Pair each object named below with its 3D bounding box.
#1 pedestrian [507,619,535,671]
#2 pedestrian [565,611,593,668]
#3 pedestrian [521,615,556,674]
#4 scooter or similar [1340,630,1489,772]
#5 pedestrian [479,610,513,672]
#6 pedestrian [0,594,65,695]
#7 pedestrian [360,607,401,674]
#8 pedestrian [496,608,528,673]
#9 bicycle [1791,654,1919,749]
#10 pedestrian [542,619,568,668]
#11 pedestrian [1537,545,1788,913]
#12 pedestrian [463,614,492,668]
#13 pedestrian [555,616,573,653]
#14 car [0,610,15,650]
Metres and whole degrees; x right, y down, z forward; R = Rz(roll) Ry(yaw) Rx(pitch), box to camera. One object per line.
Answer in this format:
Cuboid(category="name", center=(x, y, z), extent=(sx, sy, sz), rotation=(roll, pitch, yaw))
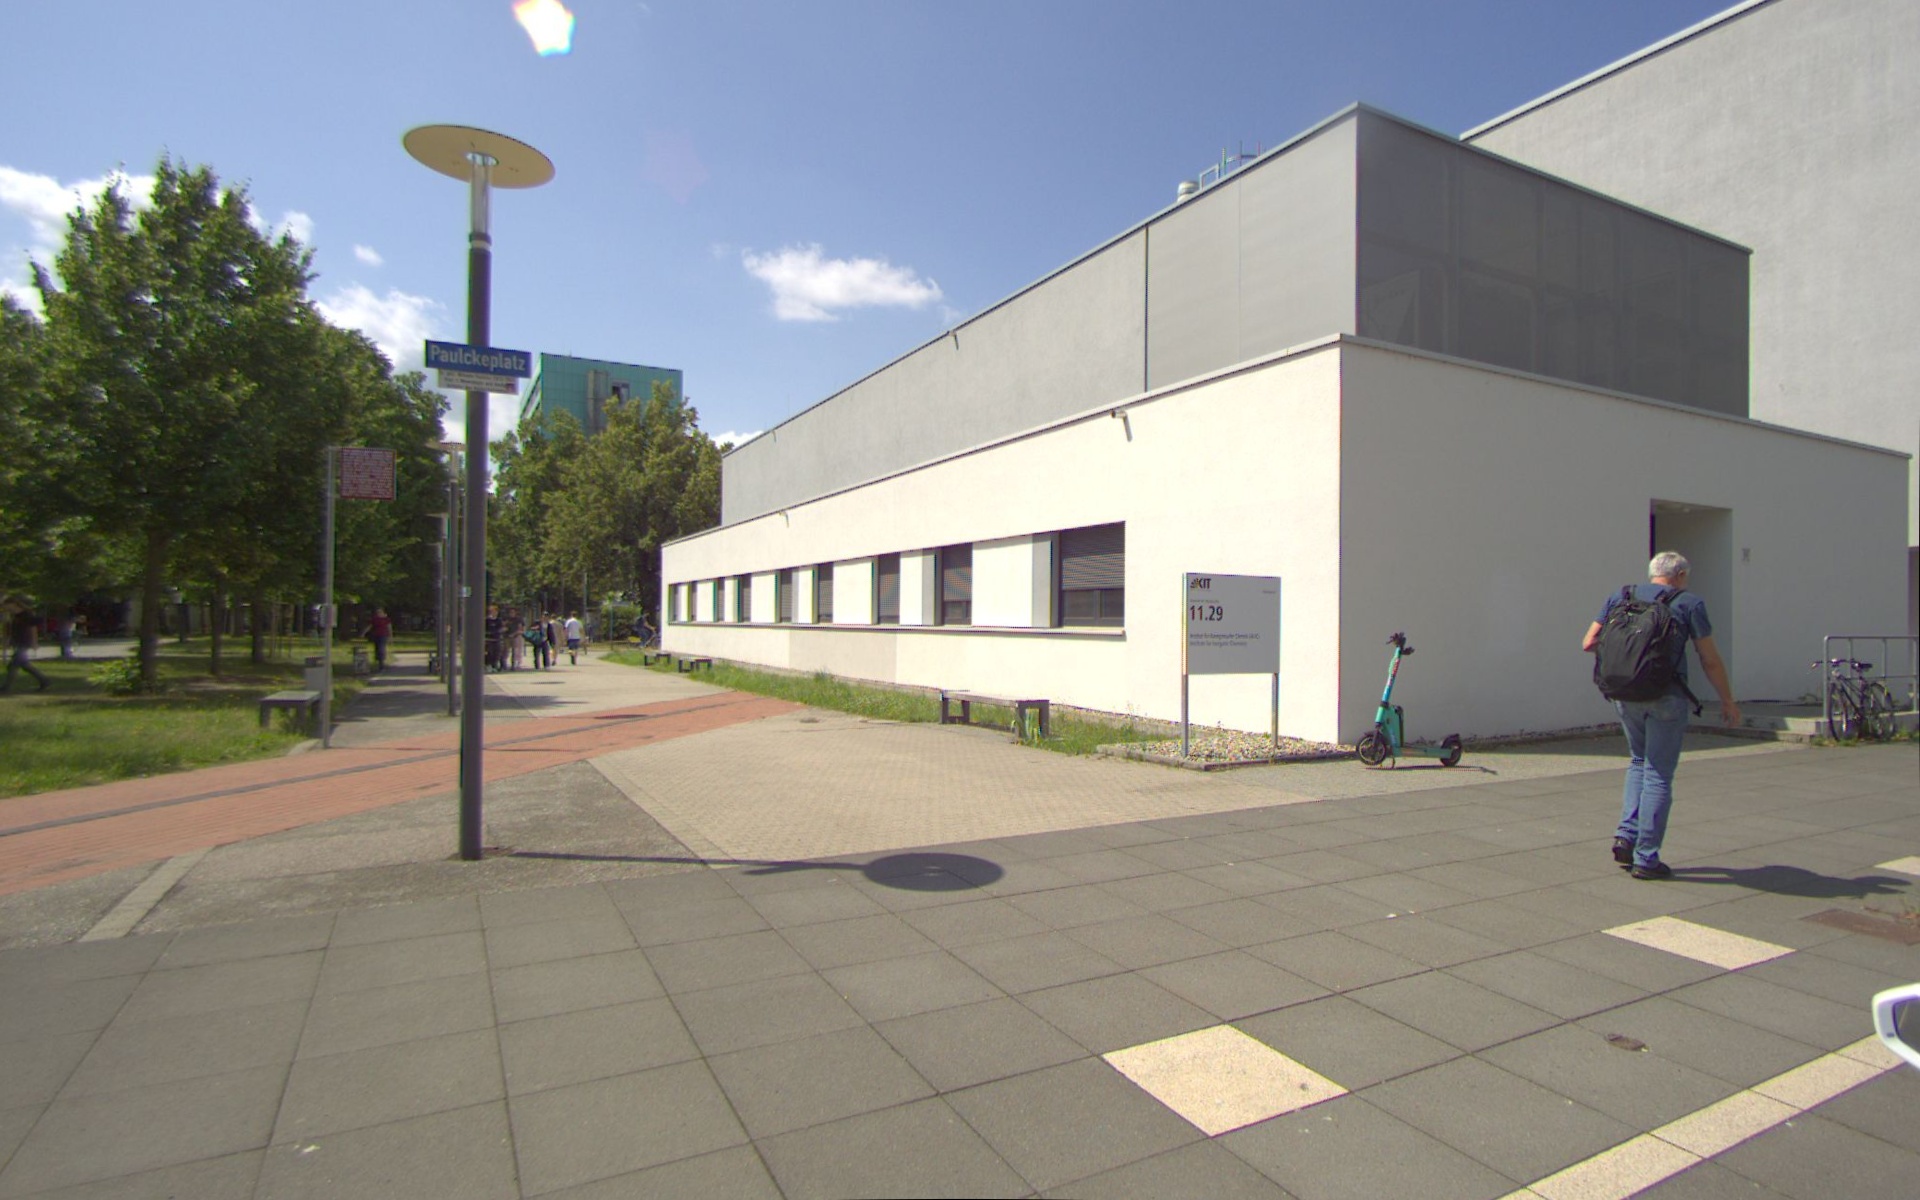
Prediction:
Cuboid(category="pedestrian", center=(-13.559, 1.379, 31.031), extent=(0.688, 1.602, 0.848), rotation=(1, -1, -31))
Cuboid(category="pedestrian", center=(-12.765, 1.314, 33.644), extent=(0.814, 1.908, 0.759), rotation=(1, -1, -25))
Cuboid(category="pedestrian", center=(-12.140, 1.279, 28.969), extent=(0.786, 1.676, 0.730), rotation=(1, -1, -12))
Cuboid(category="scooter or similar", center=(4.315, 0.932, 9.549), extent=(1.292, 1.280, 0.482), rotation=(1, -1, -16))
Cuboid(category="pedestrian", center=(-13.055, 1.148, 28.256), extent=(0.742, 1.720, 0.879), rotation=(1, -1, -33))
Cuboid(category="pedestrian", center=(-17.260, 0.812, 18.548), extent=(0.623, 1.810, 0.873), rotation=(0, -1, 10))
Cuboid(category="pedestrian", center=(-16.922, 1.180, 29.341), extent=(0.841, 1.916, 0.666), rotation=(1, -1, -12))
Cuboid(category="pedestrian", center=(-13.046, 1.180, 29.247), extent=(0.673, 1.863, 0.760), rotation=(1, -1, -12))
Cuboid(category="bicycle", center=(10.999, 1.208, 12.258), extent=(1.872, 1.075, 0.542), rotation=(1, -1, -24))
Cuboid(category="pedestrian", center=(-13.394, 1.420, 33.202), extent=(0.748, 1.583, 0.726), rotation=(1, -1, -25))
Cuboid(category="pedestrian", center=(3.982, 0.662, 5.699), extent=(1.132, 1.841, 0.818), rotation=(1, -1, -34))
Cuboid(category="pedestrian", center=(-14.688, 1.244, 30.581), extent=(0.739, 1.602, 0.849), rotation=(1, -1, -28))
Cuboid(category="pedestrian", center=(-18.749, 1.625, 47.568), extent=(0.716, 1.716, 0.555), rotation=(1, -1, -25))
Cuboid(category="car", center=(-49.350, 1.417, 49.188), extent=(4.075, 1.969, 1.799), rotation=(2, -2, -29))
